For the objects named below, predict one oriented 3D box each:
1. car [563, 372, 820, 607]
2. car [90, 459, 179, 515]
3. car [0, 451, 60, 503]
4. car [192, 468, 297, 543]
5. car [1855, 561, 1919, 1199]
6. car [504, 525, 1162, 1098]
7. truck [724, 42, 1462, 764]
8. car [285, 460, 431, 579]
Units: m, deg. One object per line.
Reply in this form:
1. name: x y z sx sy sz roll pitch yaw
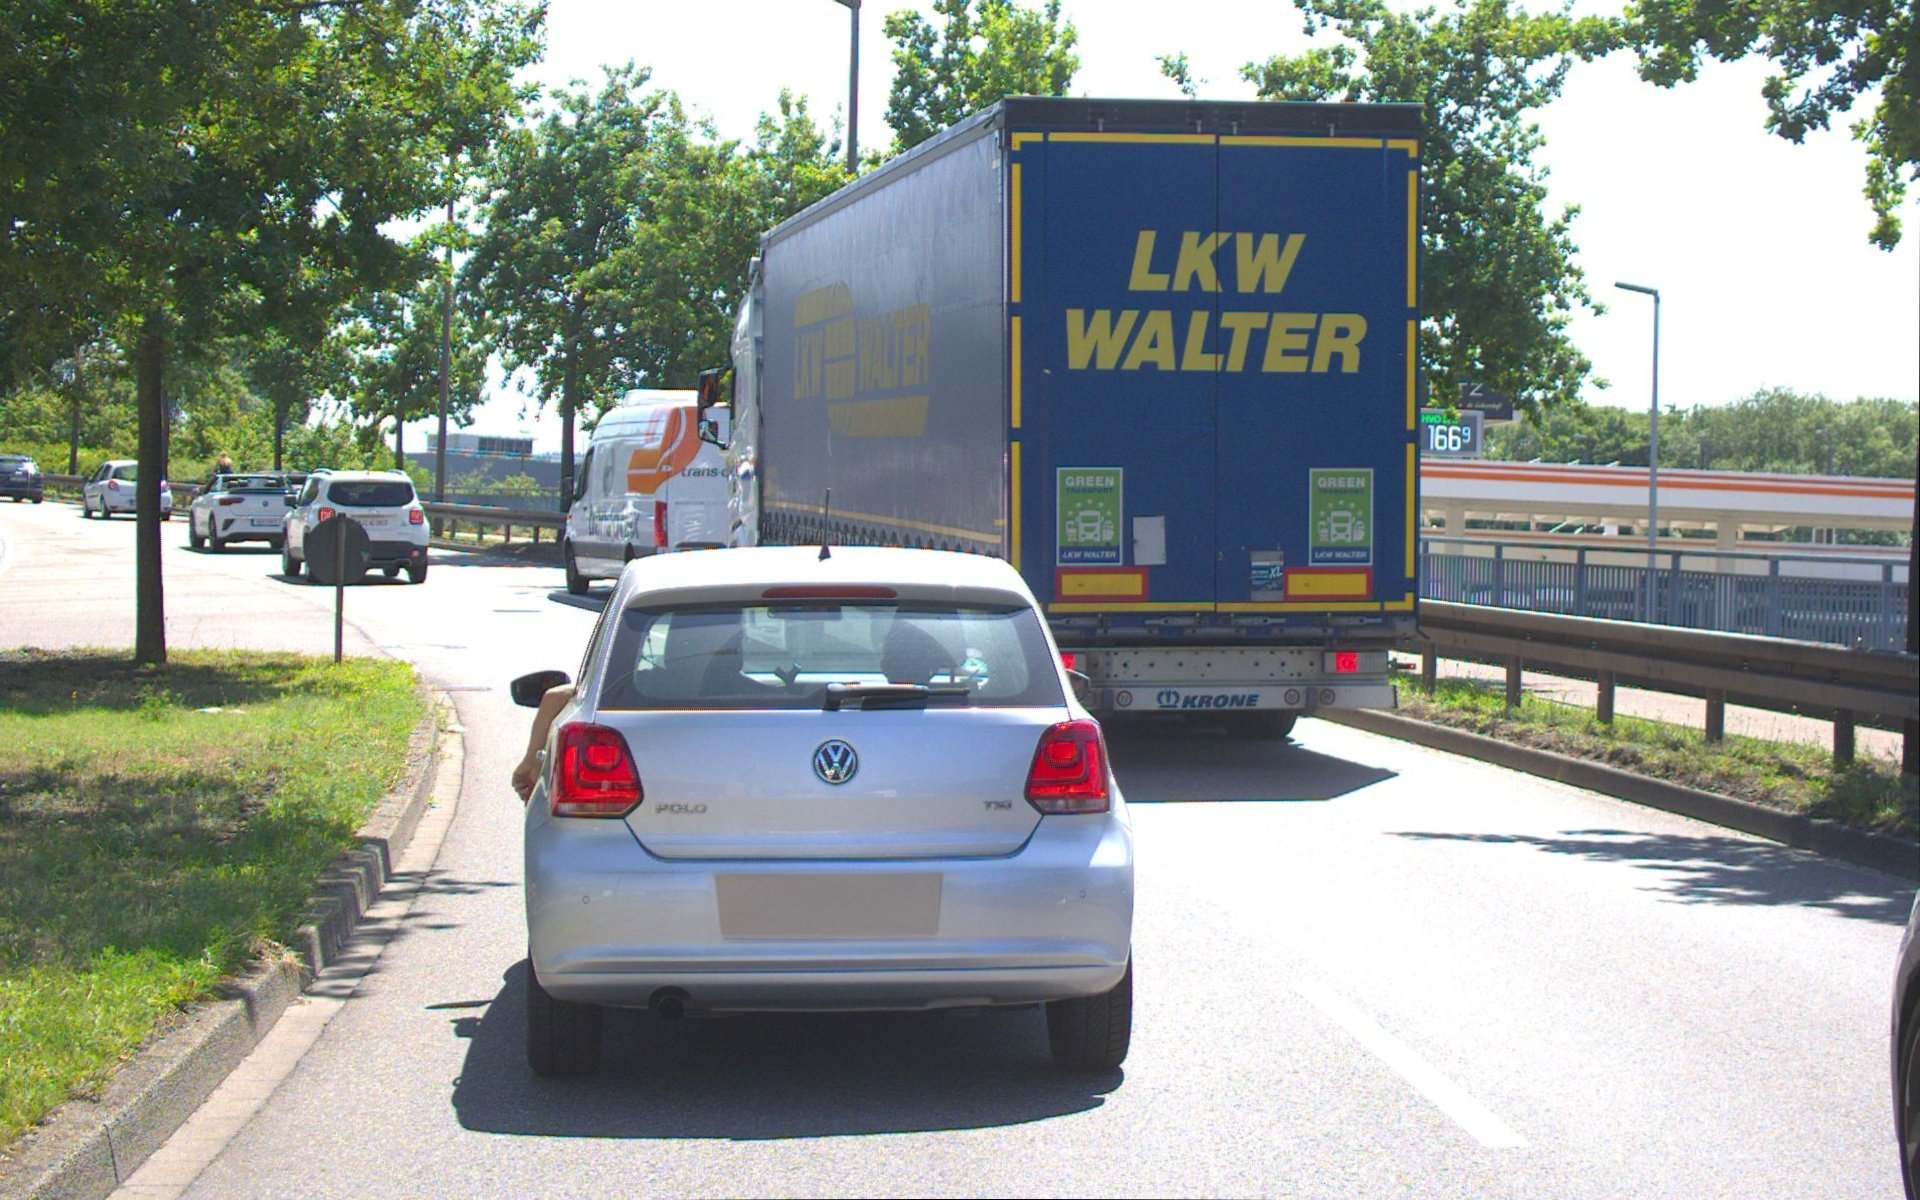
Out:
1. car: -3.717 -1.516 46.184 2.175 2.890 6.361 1 2 -16
2. car: -20.815 -2.843 86.600 1.607 1.355 3.664 1 1 -23
3. car: -28.011 -3.676 103.347 1.664 1.460 3.582 1 0 -18
4. car: -13.623 -1.798 65.341 1.494 1.355 3.664 1 1 -19
5. car: 2.819 0.680 5.219 1.604 1.451 4.236 1 0 -3
6. car: -0.465 0.526 10.513 1.646 1.434 3.537 1 0 -5
7. truck: 0.246 -1.340 28.431 2.832 4.184 16.479 1 1 -9
8. car: -9.256 -1.210 52.666 1.903 1.712 4.225 1 0 -14
